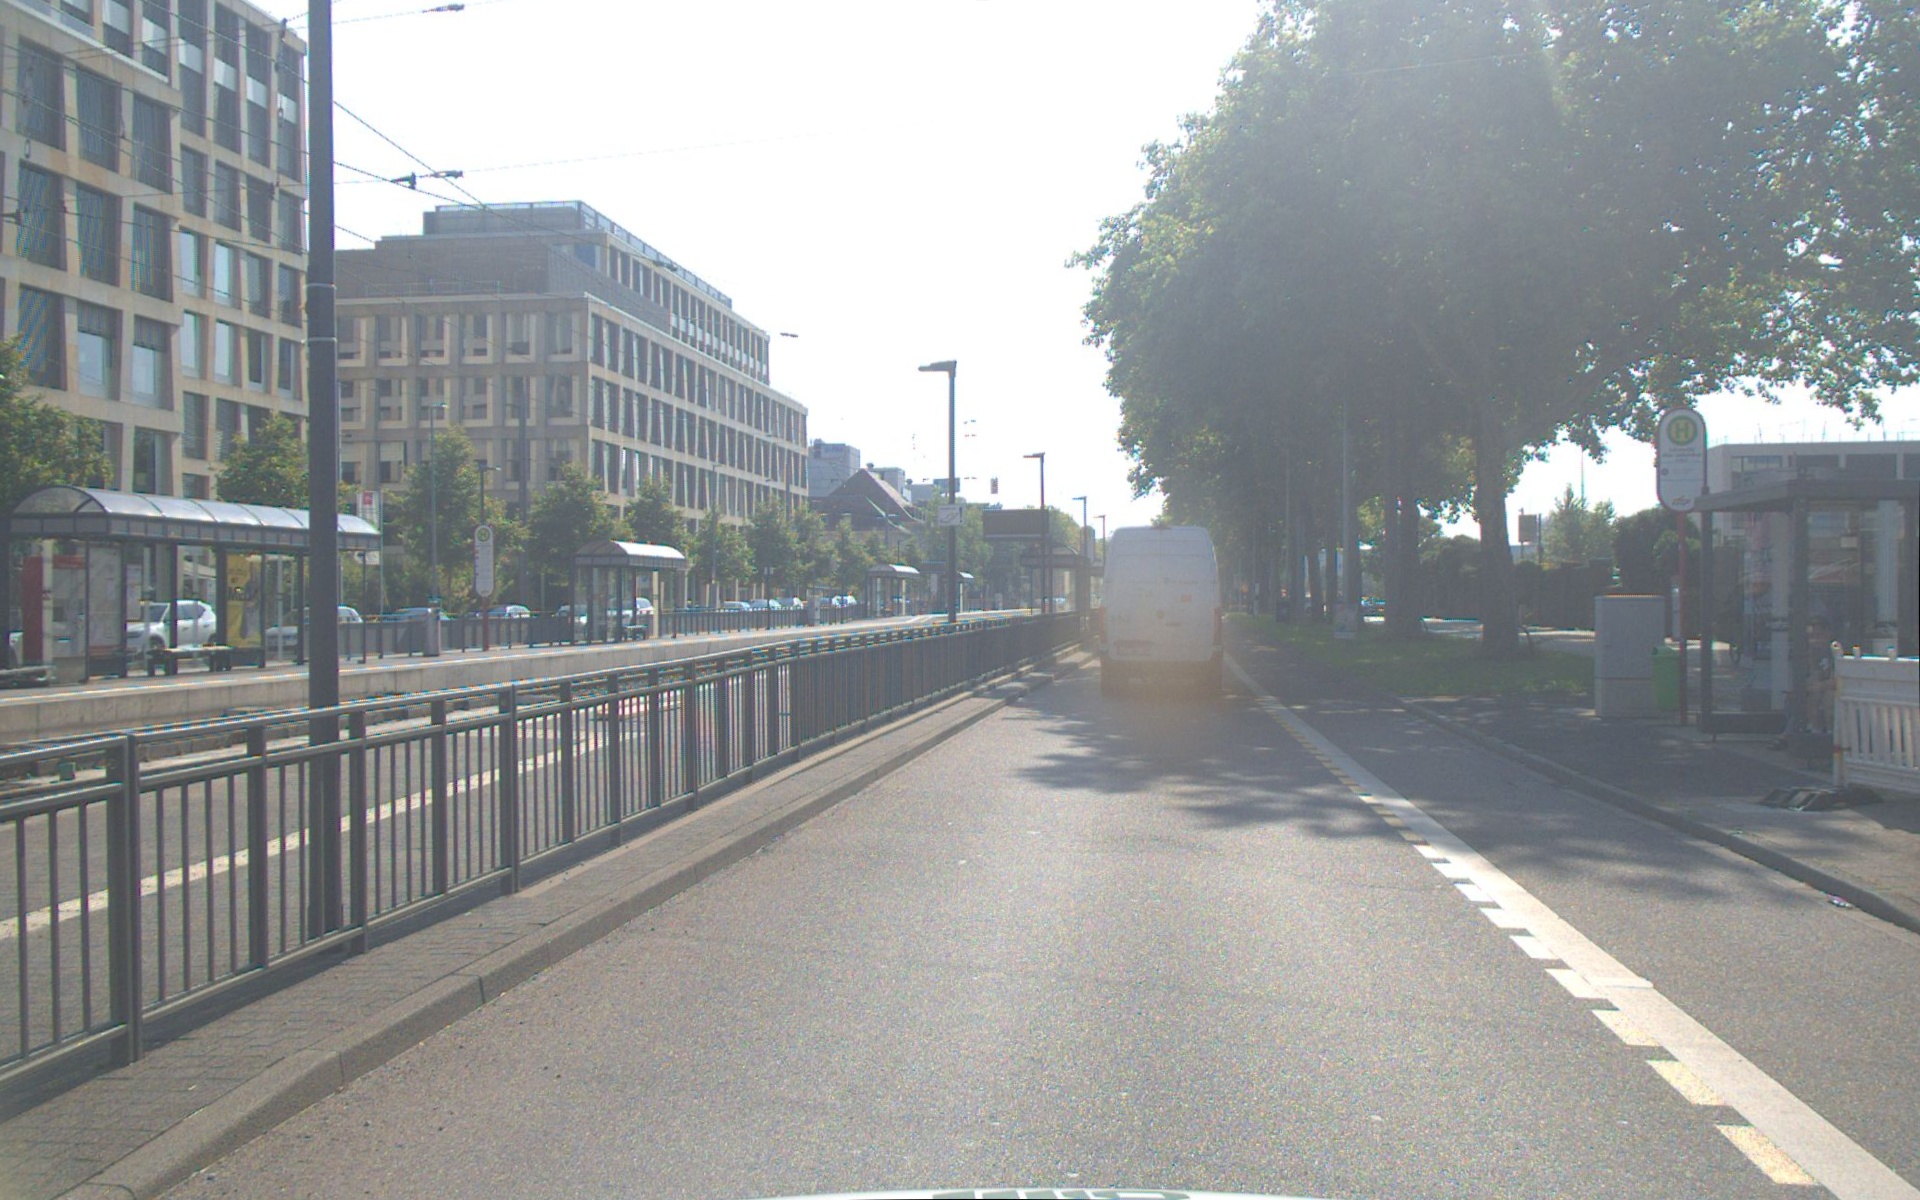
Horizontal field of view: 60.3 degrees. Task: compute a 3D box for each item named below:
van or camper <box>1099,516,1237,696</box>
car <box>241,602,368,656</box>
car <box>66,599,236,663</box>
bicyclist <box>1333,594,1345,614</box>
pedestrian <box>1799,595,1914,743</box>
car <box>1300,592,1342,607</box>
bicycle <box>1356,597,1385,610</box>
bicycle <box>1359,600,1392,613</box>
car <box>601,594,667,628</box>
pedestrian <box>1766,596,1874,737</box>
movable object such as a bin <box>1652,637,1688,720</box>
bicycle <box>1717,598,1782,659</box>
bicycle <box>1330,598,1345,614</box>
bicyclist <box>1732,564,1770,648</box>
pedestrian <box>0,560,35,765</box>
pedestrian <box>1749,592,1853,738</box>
[{"bbox_3d":[3.415,0.082,27.946,2.071,2.729,5.253,1,0,5],"label":"van or camper"},{"bbox_3d":[-18.969,0.810,48.042,1.648,1.432,4.085,-1,0,7],"label":"car"},{"bbox_3d":[-19.801,0.723,40.703,1.648,1.432,4.376,-1,0,7],"label":"car"},{"bbox_3d":[25.083,0.253,109.434,0.655,1.298,0.729,-1,0,7],"label":"bicyclist"},{"bbox_3d":[8.031,0.606,14.834,0.725,1.283,0.612,1,-1,7],"label":"pedestrian"},{"bbox_3d":[35.769,-0.055,163.872,3.902,1.400,2.001,1,-1,7],"label":"car"},{"bbox_3d":[28.344,0.246,114.326,1.891,0.861,0.372,-1,0,8],"label":"bicycle"},{"bbox_3d":[27.950,0.435,111.312,2.133,0.861,0.503,-1,0,8],"label":"bicycle"},{"bbox_3d":[-14.771,0.485,75.067,1.648,1.432,4.374,-1,0,7],"label":"car"},{"bbox_3d":[8.112,0.616,15.622,0.725,1.283,0.612,1,-1,7],"label":"pedestrian"},{"bbox_3d":[8.116,0.895,18.904,0.265,0.931,0.386,0,0,5],"label":"movable object such as a bin"},{"bbox_3d":[14.934,0.520,31.333,0.481,1.108,1.858,0,0,5],"label":"bicycle"},{"bbox_3d":[24.976,0.413,109.409,0.667,1.023,2.219,-1,0,7],"label":"bicycle"},{"bbox_3d":[14.923,0.103,31.212,0.459,1.566,0.596,0,0,5],"label":"bicyclist"},{"bbox_3d":[-9.619,0.607,16.093,0.708,1.985,0.789,-1,0,10],"label":"pedestrian"},{"bbox_3d":[8.264,0.627,16.277,0.734,1.390,0.612,1,-1,7],"label":"pedestrian"}]
